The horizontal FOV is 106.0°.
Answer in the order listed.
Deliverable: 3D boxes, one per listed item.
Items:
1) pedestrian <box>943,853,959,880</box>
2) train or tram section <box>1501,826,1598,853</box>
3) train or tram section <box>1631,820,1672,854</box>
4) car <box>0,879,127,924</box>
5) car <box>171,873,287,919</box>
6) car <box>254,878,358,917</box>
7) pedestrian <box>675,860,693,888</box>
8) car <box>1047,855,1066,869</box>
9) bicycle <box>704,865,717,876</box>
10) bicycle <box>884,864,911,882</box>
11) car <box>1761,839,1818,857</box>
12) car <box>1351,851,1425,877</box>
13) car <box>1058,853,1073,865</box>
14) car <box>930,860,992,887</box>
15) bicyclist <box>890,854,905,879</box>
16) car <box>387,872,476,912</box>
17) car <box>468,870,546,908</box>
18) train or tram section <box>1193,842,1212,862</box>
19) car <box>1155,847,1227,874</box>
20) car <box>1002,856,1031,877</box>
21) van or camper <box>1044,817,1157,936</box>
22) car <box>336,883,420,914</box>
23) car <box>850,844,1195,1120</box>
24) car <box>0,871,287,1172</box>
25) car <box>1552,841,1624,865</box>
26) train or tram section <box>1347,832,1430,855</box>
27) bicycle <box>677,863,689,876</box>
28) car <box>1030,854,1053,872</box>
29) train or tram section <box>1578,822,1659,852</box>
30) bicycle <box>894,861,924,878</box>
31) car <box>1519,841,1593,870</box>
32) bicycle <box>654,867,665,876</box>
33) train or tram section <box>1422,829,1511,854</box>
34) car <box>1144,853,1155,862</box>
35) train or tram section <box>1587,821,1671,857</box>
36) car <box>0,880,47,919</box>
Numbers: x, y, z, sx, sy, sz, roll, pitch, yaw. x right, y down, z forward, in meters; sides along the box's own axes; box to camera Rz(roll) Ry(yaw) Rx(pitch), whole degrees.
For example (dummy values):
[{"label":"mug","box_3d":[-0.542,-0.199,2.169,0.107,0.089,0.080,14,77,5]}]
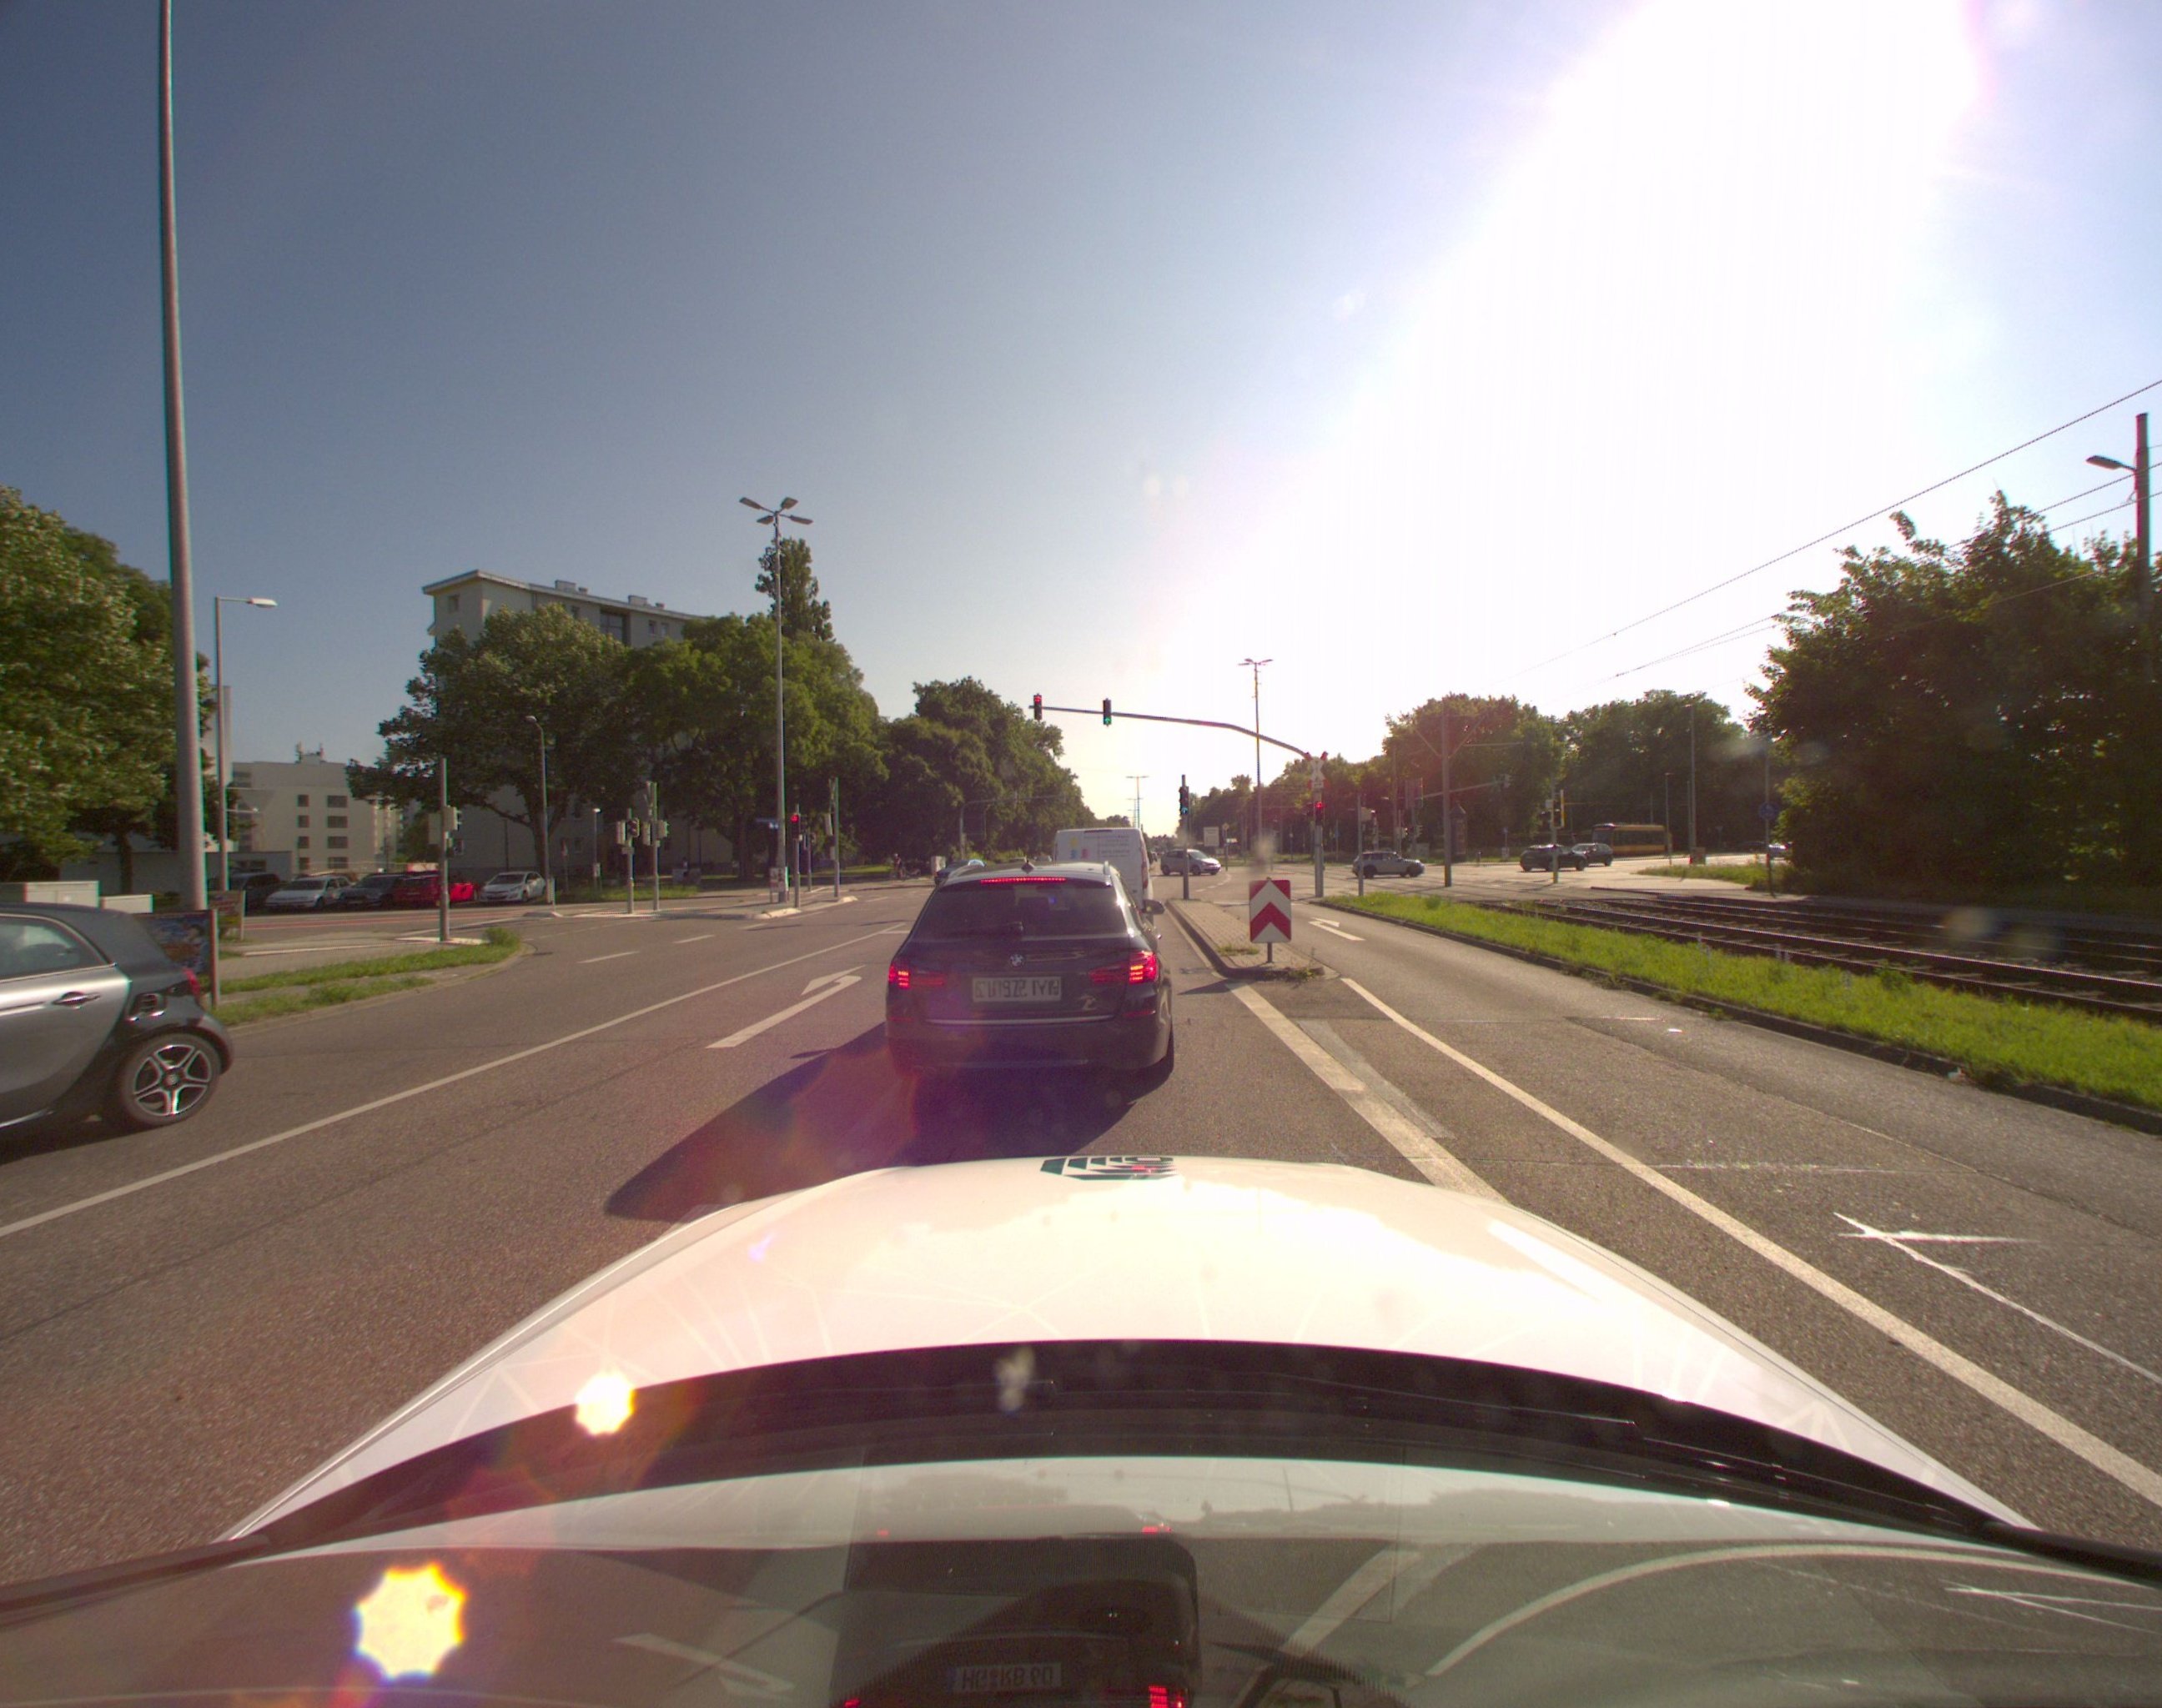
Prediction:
[{"label":"pedestrian","box_3d":[-8.731,0.836,54.782,0.811,1.752,0.933,-1,0,7]},{"label":"train or tram section","box_3d":[67.336,-1.988,117.569,3.064,3.579,12.108,-1,0,-31]},{"label":"train or tram section","box_3d":[66.103,-1.924,94.582,3.015,3.579,12.308,-1,0,31]},{"label":"car","box_3d":[-44.366,2.012,35.227,1.785,1.477,4.785,-1,3,-19]},{"label":"car","box_3d":[-38.060,1.827,36.526,1.783,1.811,3.977,-1,0,-16]},{"label":"car","box_3d":[-35.415,1.932,37.361,1.783,1.521,3.977,-1,0,-16]},{"label":"pedestrian","box_3d":[-24.551,1.248,50.359,0.619,1.713,0.707,-1,1,14]},{"label":"car","box_3d":[-2.716,0.863,89.611,1.882,1.474,4.099,-2,0,0]},{"label":"bicycle","box_3d":[-31.029,1.363,68.237,0.673,0.919,2.382,-1,0,-33]},{"label":"bicycle","box_3d":[-11.504,1.181,51.123,0.614,1.040,2.083,-1,0,22]},{"label":"car","box_3d":[57.438,-0.467,65.996,4.419,1.354,1.982,-1,0,-27]},{"label":"car","box_3d":[17.044,0.550,45.307,3.505,1.383,1.607,-1,0,1]},{"label":"car","box_3d":[-1.999,0.660,105.905,1.783,1.520,4.000,-2,0,0]},{"label":"car","box_3d":[-6.868,1.120,47.039,1.765,1.414,4.265,-1,0,18]},{"label":"bicyclist","box_3d":[-11.520,0.791,51.104,0.602,1.560,0.606,-1,0,21]},{"label":"car","box_3d":[-30.842,1.762,38.823,1.782,1.415,3.982,-1,4,-14]},{"label":"car","box_3d":[-27.891,1.657,39.732,1.783,1.439,3.980,-1,3,-15]},{"label":"train or tram section","box_3d":[22.955,-0.333,154.239,2.782,3.618,12.976,0,0,6]},{"label":"car","box_3d":[6.763,0.398,50.383,1.866,1.562,4.153,-1,0,-43]},{"label":"car","box_3d":[-4.905,0.906,62.595,1.696,1.465,4.371,-3,0,2]},{"label":"van or camper","box_3d":[0.489,0.398,16.926,1.985,2.096,4.602,-1,0,3]},{"label":"car","box_3d":[-32.774,2.052,38.094,1.463,1.193,3.767,-1,0,-15]},{"label":"car","box_3d":[-0.260,0.714,6.574,1.896,1.506,4.067,-1,0,2]},{"label":"car","box_3d":[-6.567,0.947,4.013,1.628,1.560,3.675,-3,0,0]},{"label":"car","box_3d":[35.955,-0.076,57.756,4.871,1.562,2.027,-1,0,-26]},{"label":"train or tram section","box_3d":[50.391,-1.678,133.850,12.279,3.579,3.073,-1,0,33]},{"label":"bicycle","box_3d":[-32.685,1.266,66.937,0.615,1.066,1.896,0,-2,-34]},{"label":"car","box_3d":[-3.671,0.850,76.555,1.738,1.562,4.003,-3,0,3]},{"label":"train or tram section","box_3d":[69.660,-2.075,106.061,3.031,3.579,12.241,-1,0,3]},{"label":"bicycle","box_3d":[-11.636,1.048,55.089,1.902,1.119,0.632,-1,0,1]},{"label":"car","box_3d":[29.469,0.078,50.543,4.630,1.722,1.635,-1,0,-26]},{"label":"bicycle","box_3d":[-34.309,1.431,66.243,0.587,0.708,2.215,-1,0,-33]},{"label":"train or tram section","box_3d":[60.001,-1.851,126.956,12.072,3.579,3.073,-1,0,38]},{"label":"car","box_3d":[11.833,0.601,140.682,1.785,1.486,3.903,-2,0,3]},{"label":"train or tram section","box_3d":[57.961,-1.575,85.995,11.898,3.579,3.022,-1,0,-34]},{"label":"car","box_3d":[-46.079,2.018,33.674,1.785,1.476,4.686,-1,3,-19]}]
